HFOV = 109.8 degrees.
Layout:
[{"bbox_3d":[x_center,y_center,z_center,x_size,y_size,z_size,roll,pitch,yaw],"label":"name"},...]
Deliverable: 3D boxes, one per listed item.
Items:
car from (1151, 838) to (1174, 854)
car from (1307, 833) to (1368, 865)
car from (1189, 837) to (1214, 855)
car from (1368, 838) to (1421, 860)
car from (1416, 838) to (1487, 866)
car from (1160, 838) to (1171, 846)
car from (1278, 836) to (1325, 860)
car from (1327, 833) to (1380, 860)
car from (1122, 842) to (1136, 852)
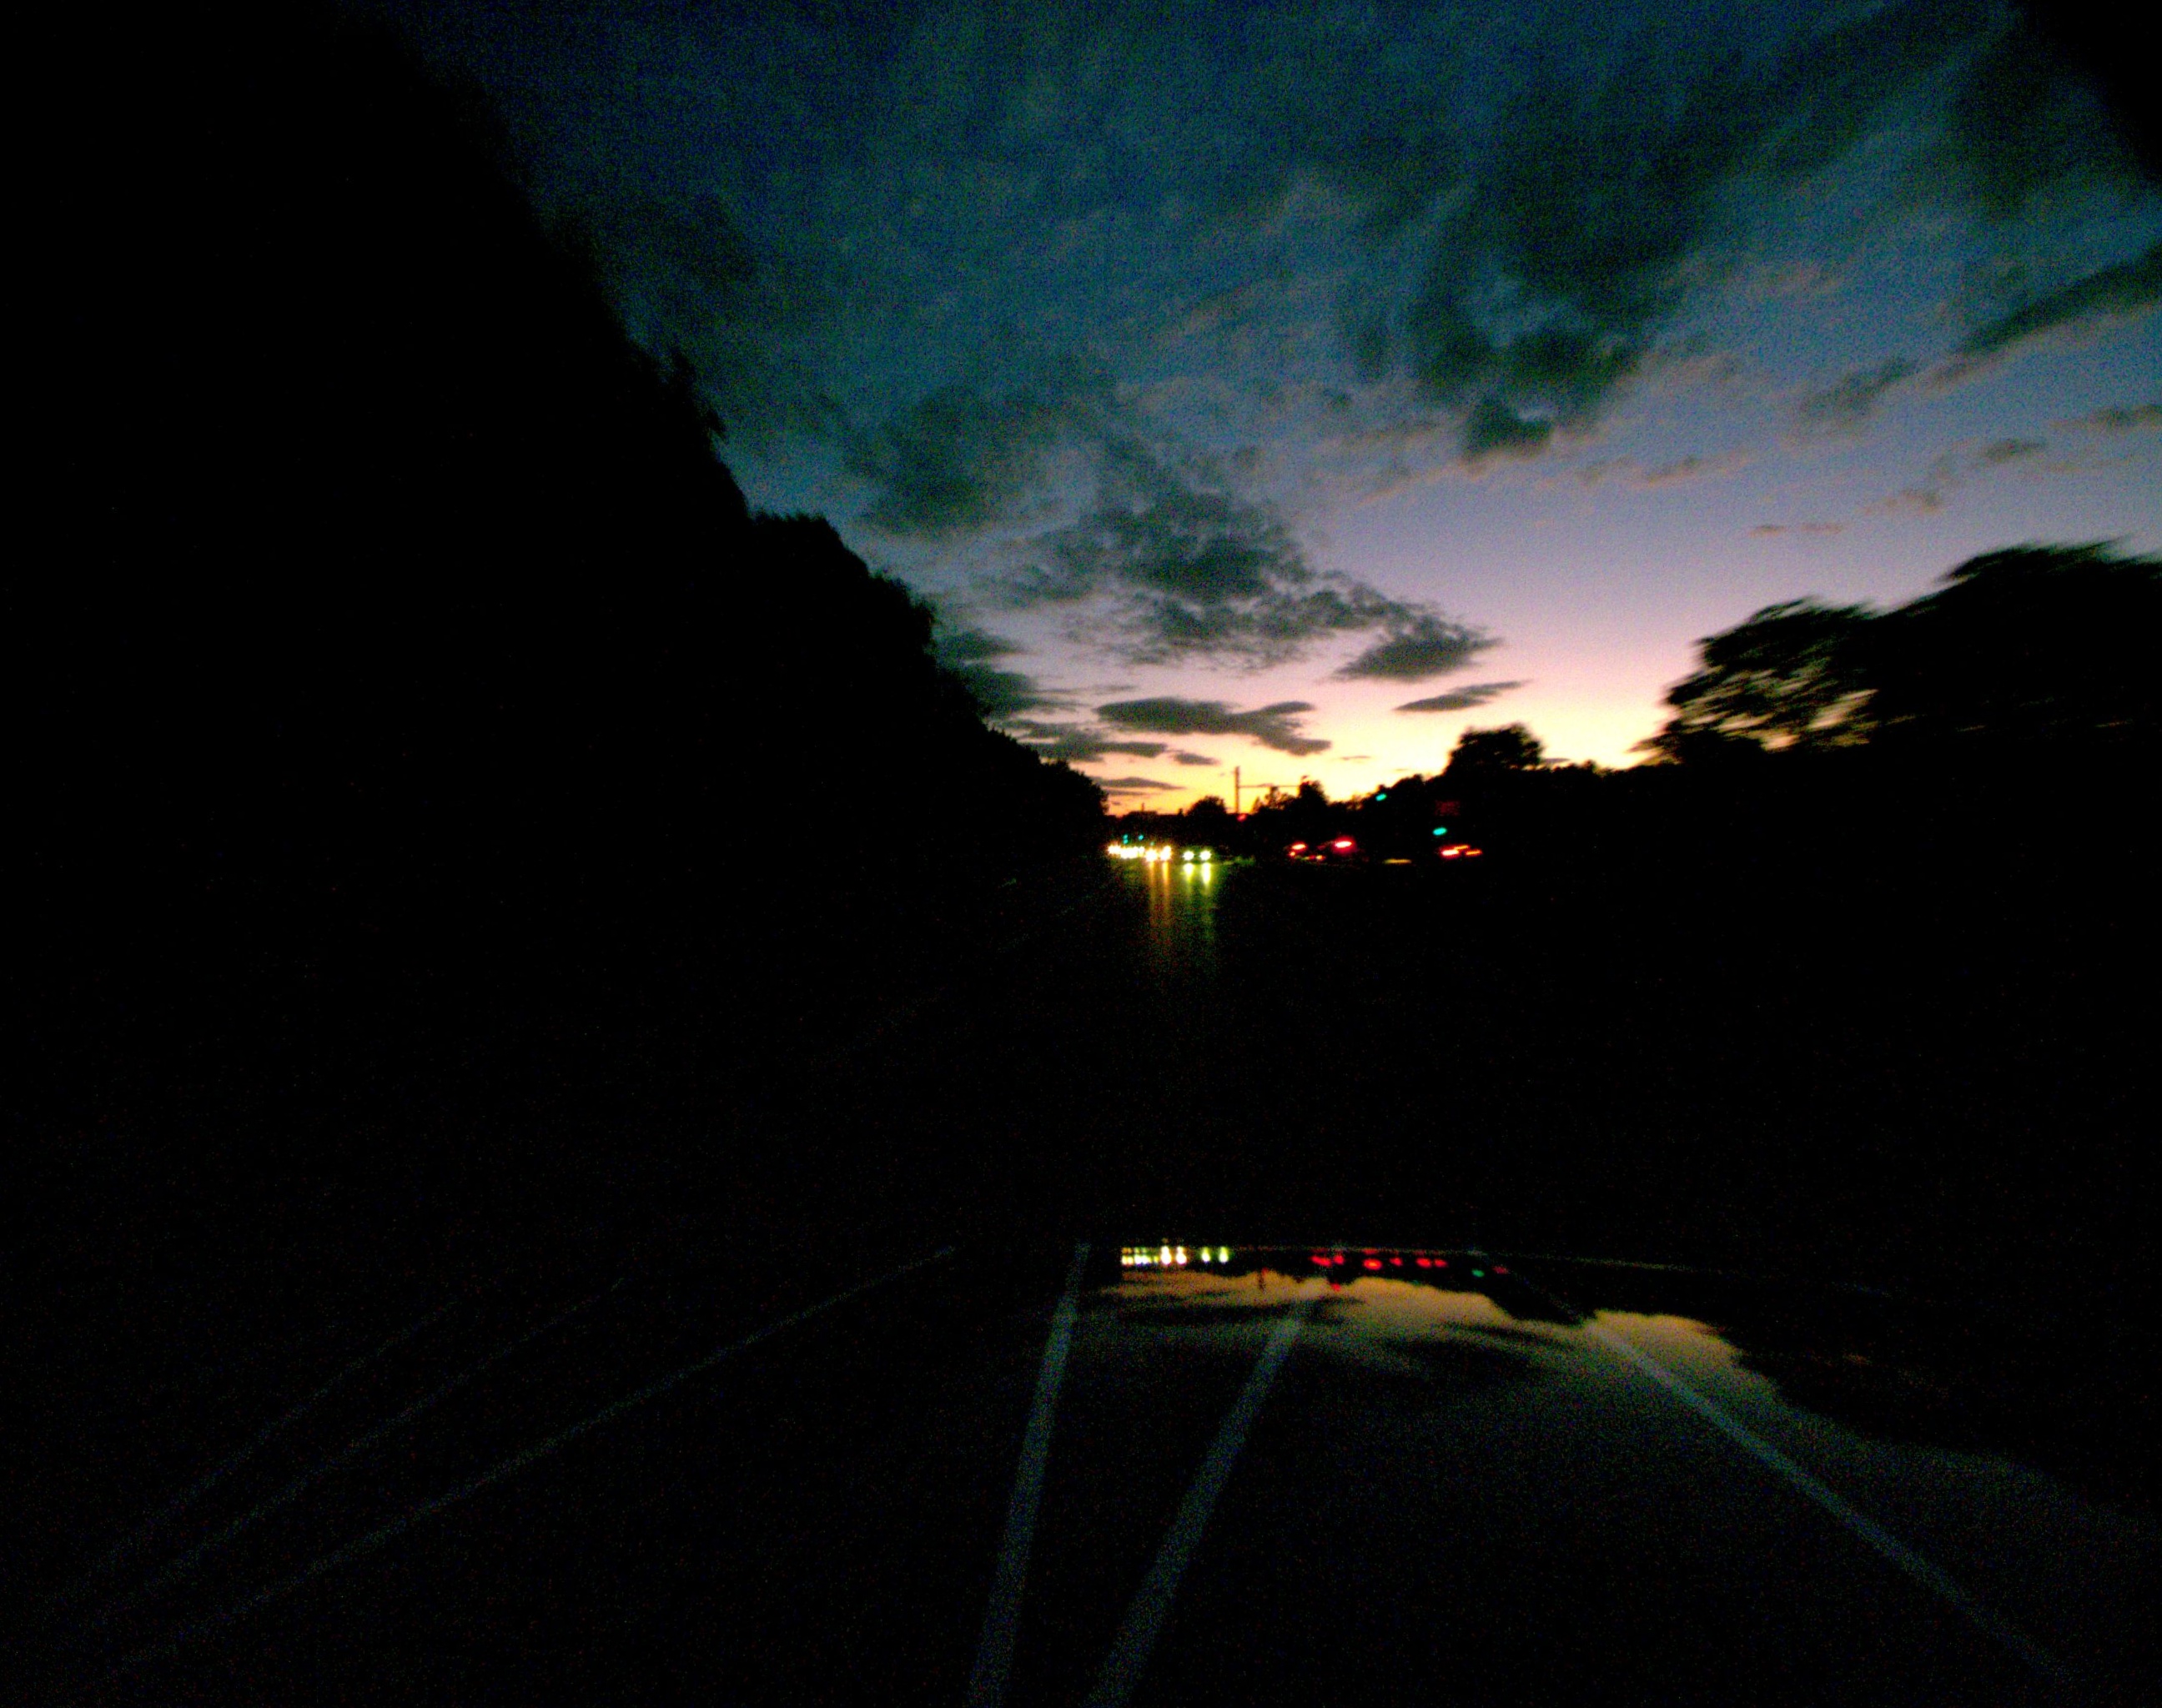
[{"bbox_3d":[7.864,-0.779,73.862,1.998,1.445,4.000,1,1,3],"label":"car"},{"bbox_3d":[13.154,-0.310,39.224,1.997,1.561,4.824,0,1,6],"label":"car"},{"bbox_3d":[10.528,-0.760,66.571,1.997,1.445,4.735,-1,1,7],"label":"car"},{"bbox_3d":[21.659,-0.325,52.721,1.998,1.444,4.735,0,1,4],"label":"car"},{"bbox_3d":[20.683,-0.143,42.635,1.998,1.445,4.735,0,1,5],"label":"car"},{"bbox_3d":[18.273,-2.566,163.540,2.056,1.587,4.003,-1,1,11],"label":"car"},{"bbox_3d":[13.860,-0.417,48.038,1.997,1.445,5.048,0,1,6],"label":"car"},{"bbox_3d":[17.985,-0.550,50.458,1.998,1.672,4.873,0,2,3],"label":"car"},{"bbox_3d":[8.844,-1.321,140.351,2.006,1.718,4.002,-1,1,11],"label":"car"}]
